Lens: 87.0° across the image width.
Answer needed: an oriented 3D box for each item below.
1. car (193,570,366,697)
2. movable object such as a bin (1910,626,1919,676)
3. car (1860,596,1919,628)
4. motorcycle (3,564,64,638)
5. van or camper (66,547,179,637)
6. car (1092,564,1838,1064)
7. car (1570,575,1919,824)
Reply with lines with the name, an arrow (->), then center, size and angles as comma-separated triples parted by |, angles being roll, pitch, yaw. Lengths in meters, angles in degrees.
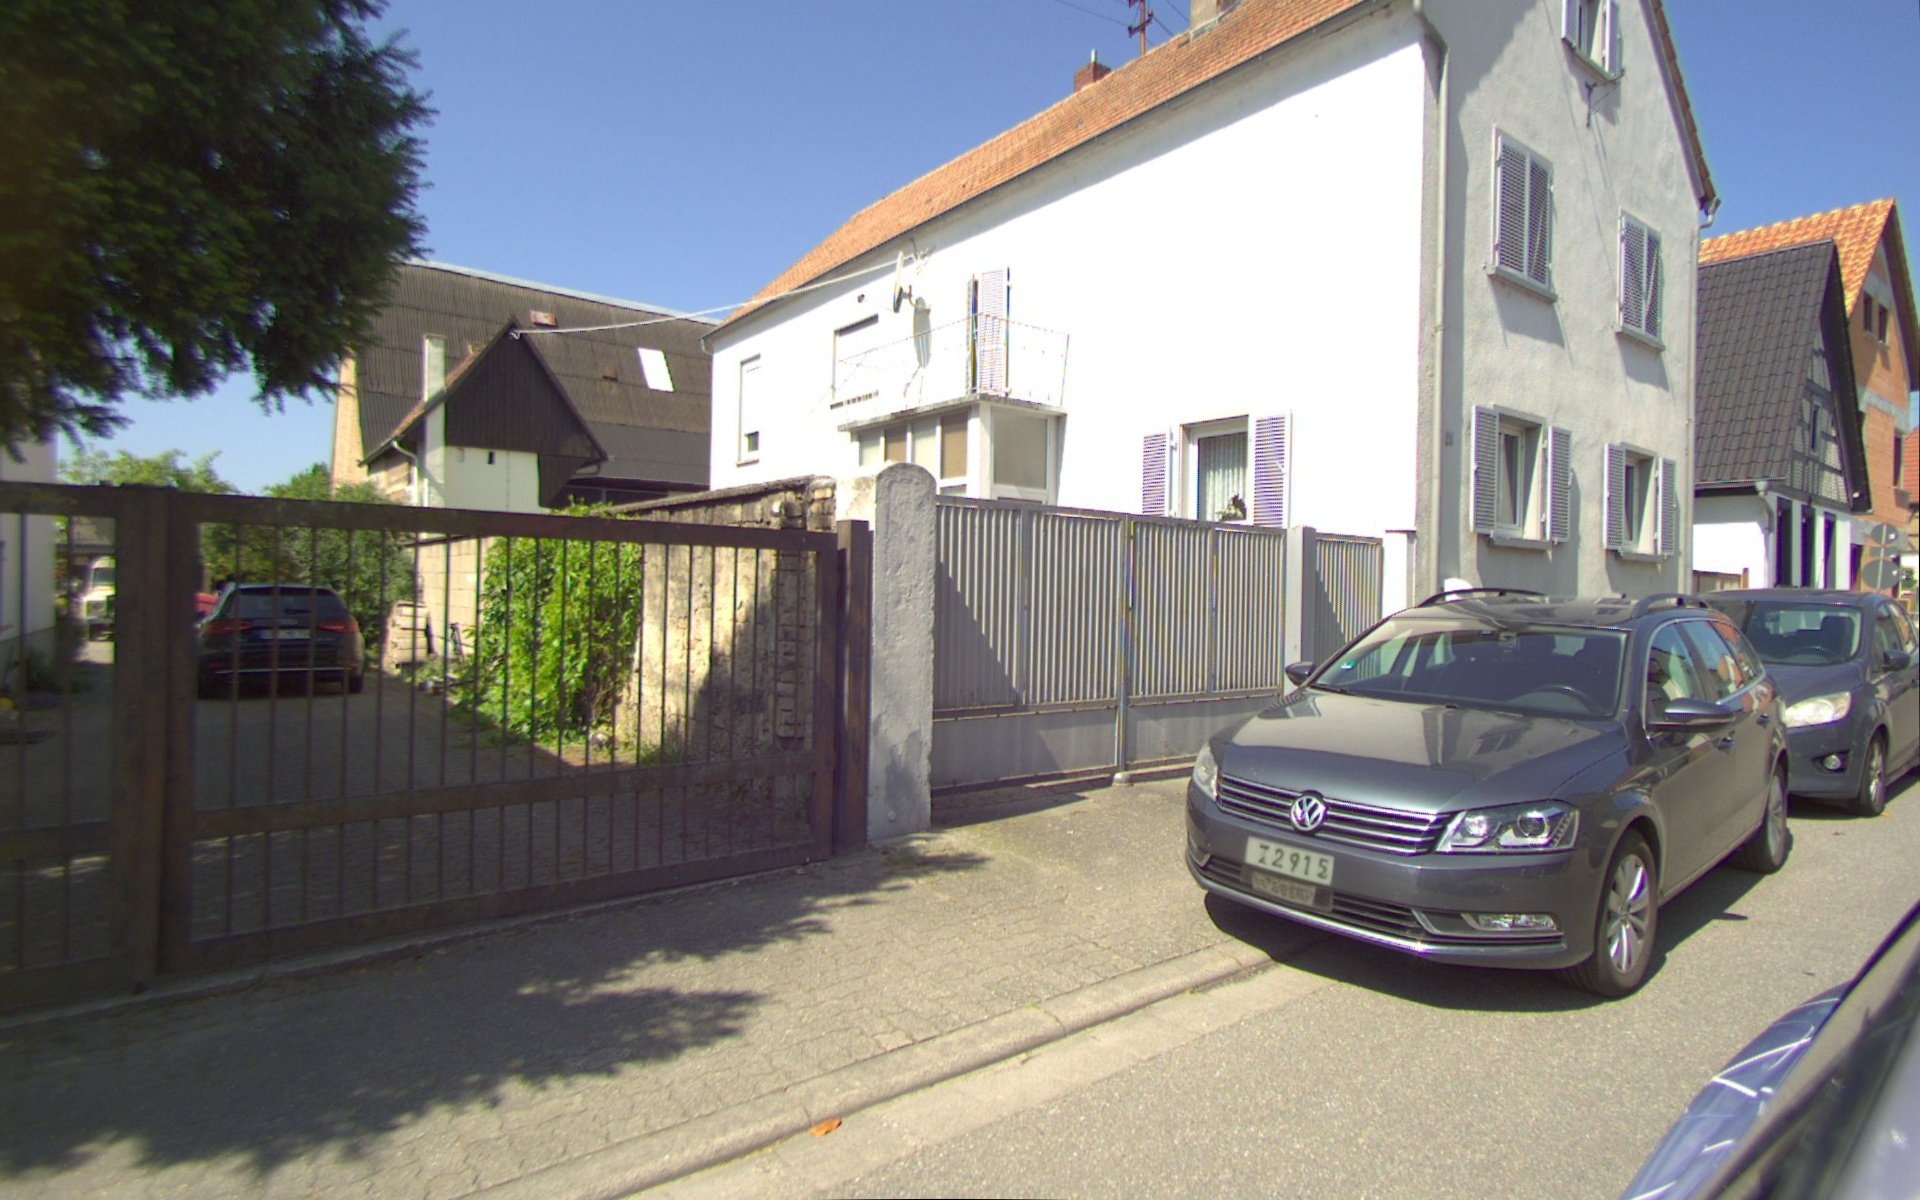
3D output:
car -> -8.994, 0.411, 13.265 | 1.529, 1.425, 3.631 | 0, -1, -40
movable object such as a bin -> 17.942, 0.942, 18.572 | 0.540, 0.925, 0.541 | 1, 0, -21
car -> 46.907, 0.615, 48.838 | 1.959, 1.470, 4.775 | 1, 1, -27
motorcycle -> -23.662, -0.008, 25.816 | 3.544, 1.780, 0.902 | 1, 0, 43
van or camper -> -21.279, -0.212, 25.664 | 1.967, 2.106, 3.991 | 0, 0, -43
car -> 2.896, 0.637, 5.252 | 4.500, 1.527, 1.823 | 0, 1, -40
car -> 7.083, 0.619, 8.563 | 4.547, 1.579, 1.802 | 0, 1, -38
